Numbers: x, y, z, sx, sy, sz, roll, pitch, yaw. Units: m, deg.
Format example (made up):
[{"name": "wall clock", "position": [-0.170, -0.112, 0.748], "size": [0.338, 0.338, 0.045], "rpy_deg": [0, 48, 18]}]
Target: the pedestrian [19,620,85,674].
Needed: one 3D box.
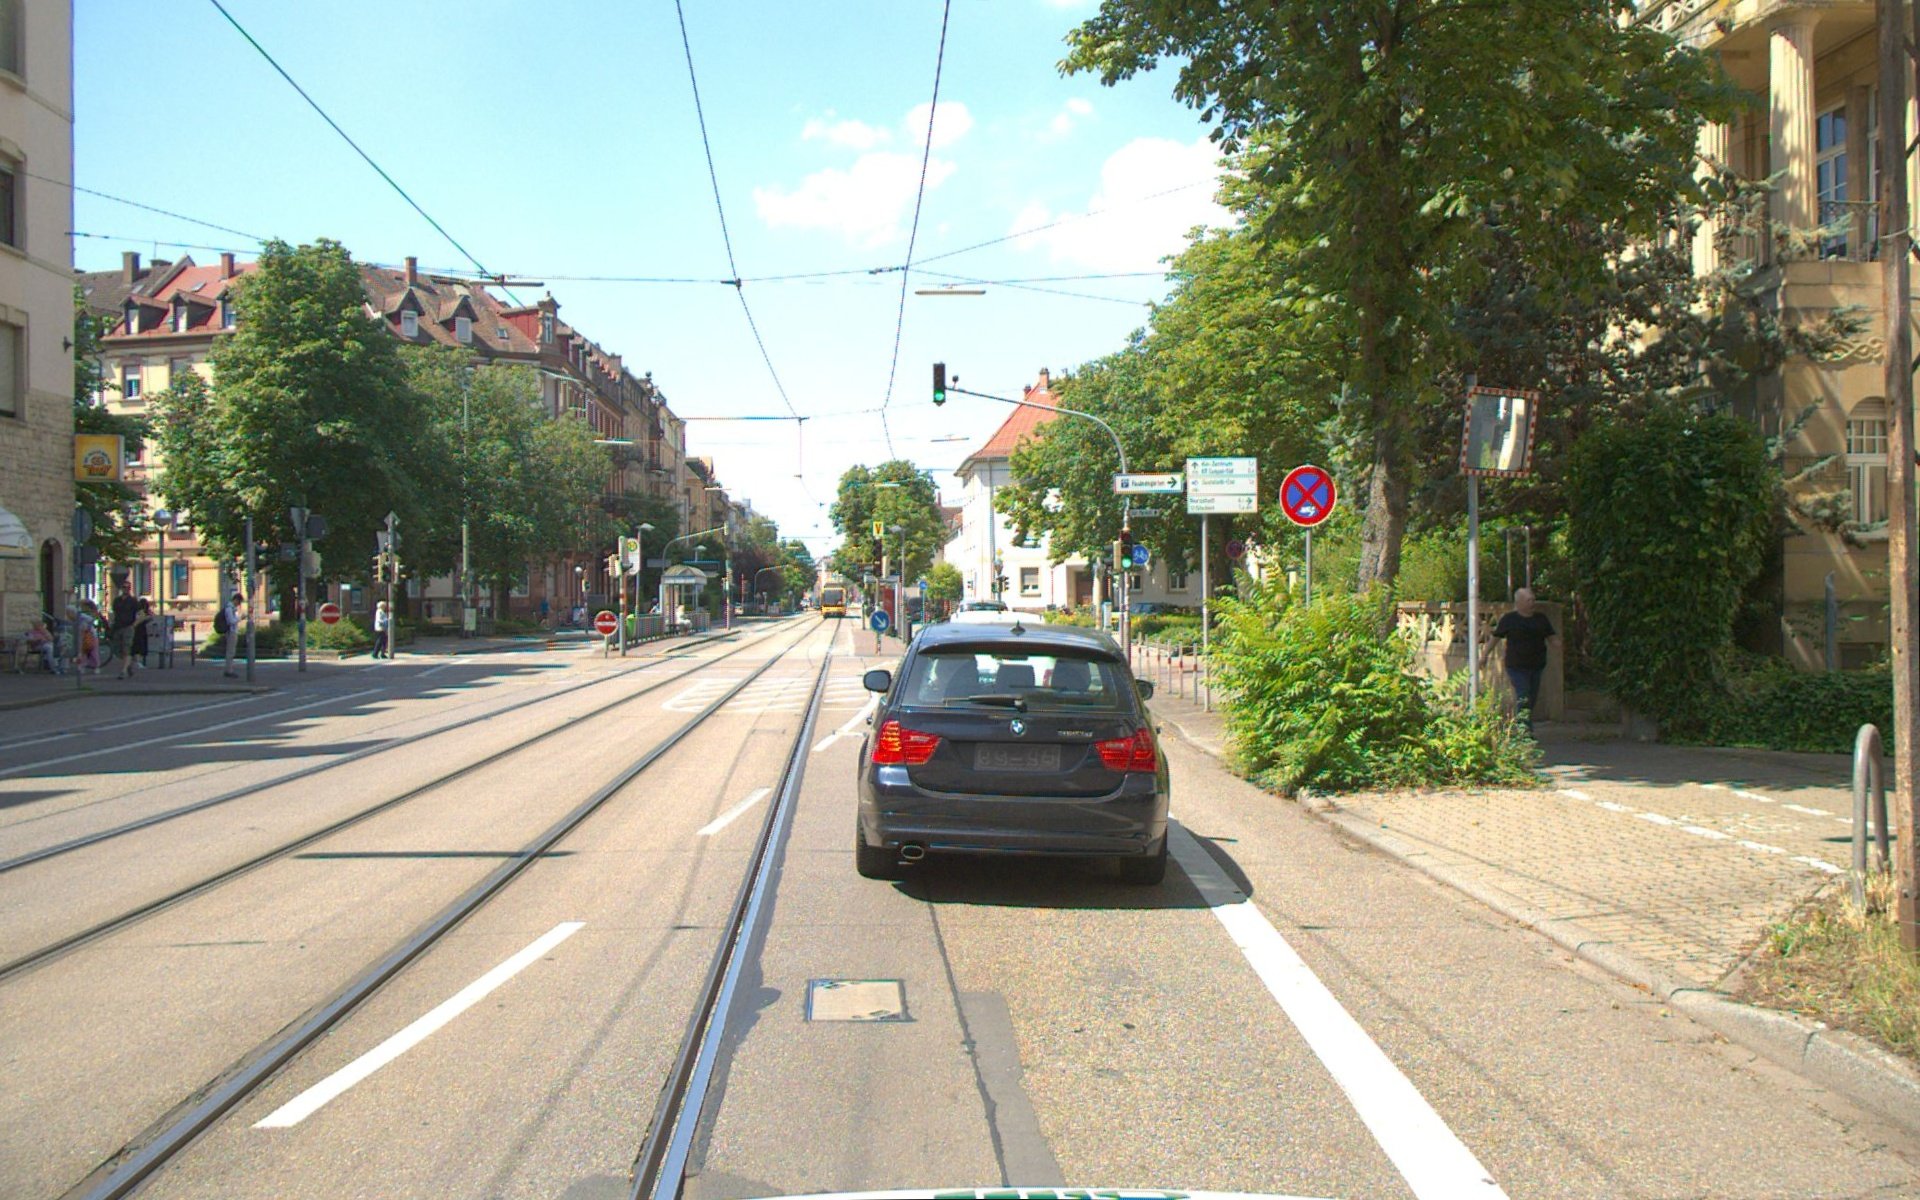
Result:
[{"name": "pedestrian", "position": [-18.852, 0.971, 34.343], "size": [0.897, 1.096, 0.882], "rpy_deg": [0, 0, -3]}]

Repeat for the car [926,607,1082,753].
[{"name": "car", "position": [0.470, 0.854, 19.397], "size": [1.650, 1.510, 3.684], "rpy_deg": [-1, 0, 0]}]

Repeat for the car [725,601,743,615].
[{"name": "car", "position": [-26.469, 0.968, 193.895], "size": [1.756, 1.614, 3.987], "rpy_deg": [1, -1, -12]}]

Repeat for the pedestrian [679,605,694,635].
[{"name": "pedestrian", "position": [-11.612, 0.829, 70.159], "size": [0.602, 1.264, 0.626], "rpy_deg": [0, 0, -10]}]

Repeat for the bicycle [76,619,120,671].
[{"name": "bicycle", "position": [-19.672, 1.037, 37.739], "size": [0.539, 1.148, 1.657], "rpy_deg": [0, -2, -41]}]

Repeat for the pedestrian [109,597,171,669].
[{"name": "pedestrian", "position": [-19.141, 0.761, 38.608], "size": [1.003, 1.664, 0.862], "rpy_deg": [-1, 0, 26]}]

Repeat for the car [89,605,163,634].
[{"name": "car", "position": [-44.535, 1.025, 88.332], "size": [3.388, 1.497, 1.685], "rpy_deg": [0, 0, 21]}]

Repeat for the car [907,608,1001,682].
[{"name": "car", "position": [-0.162, 0.846, 32.550], "size": [1.657, 1.346, 3.819], "rpy_deg": [0, 0, -3]}]

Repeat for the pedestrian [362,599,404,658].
[{"name": "pedestrian", "position": [-17.436, 0.851, 49.945], "size": [0.901, 1.753, 0.837], "rpy_deg": [-1, 0, 36]}]

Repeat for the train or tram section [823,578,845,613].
[{"name": "train or tram section", "position": [-13.021, -0.493, 171.558], "size": [2.147, 3.543, 8.837], "rpy_deg": [-1, 0, -4]}]

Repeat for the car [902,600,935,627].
[{"name": "car", "position": [-3.050, 0.982, 120.710], "size": [1.956, 1.881, 3.993], "rpy_deg": [0, 0, -7]}]

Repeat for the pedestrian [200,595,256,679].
[{"name": "pedestrian", "position": [-15.615, 0.781, 35.290], "size": [0.842, 1.763, 0.775], "rpy_deg": [1, 0, -2]}]

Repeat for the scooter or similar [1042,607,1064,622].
[{"name": "scooter or similar", "position": [5.607, 0.881, 99.739], "size": [1.287, 0.852, 0.525], "rpy_deg": [0, 0, -10]}]

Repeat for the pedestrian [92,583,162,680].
[{"name": "pedestrian", "position": [-16.854, 0.633, 33.482], "size": [0.883, 1.924, 1.163], "rpy_deg": [0, 0, -5]}]

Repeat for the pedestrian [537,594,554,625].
[{"name": "pedestrian", "position": [-24.478, 0.548, 97.728], "size": [0.628, 1.843, 0.737], "rpy_deg": [-1, 0, 38]}]

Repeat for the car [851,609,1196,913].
[{"name": "car", "position": [0.367, 0.815, 10.550], "size": [1.687, 1.433, 4.565], "rpy_deg": [2, 0, 1]}]

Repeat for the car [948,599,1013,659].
[{"name": "car", "position": [0.527, 0.749, 44.543], "size": [1.656, 1.540, 3.821], "rpy_deg": [0, 0, 0]}]

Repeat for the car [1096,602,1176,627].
[{"name": "car", "position": [9.335, 0.777, 87.664], "size": [3.914, 1.265, 1.620], "rpy_deg": [0, 0, 31]}]

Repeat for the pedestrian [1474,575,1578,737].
[{"name": "pedestrian", "position": [6.037, 0.585, 17.681], "size": [0.839, 1.674, 0.837], "rpy_deg": [-1, 0, 3]}]

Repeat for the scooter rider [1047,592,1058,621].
[{"name": "scooter rider", "position": [5.594, 0.385, 99.737], "size": [0.579, 1.716, 0.527], "rpy_deg": [0, 0, -9]}]

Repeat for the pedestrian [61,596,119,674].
[{"name": "pedestrian", "position": [-18.380, 0.730, 34.955], "size": [0.791, 1.622, 0.918], "rpy_deg": [0, 0, -5]}]
